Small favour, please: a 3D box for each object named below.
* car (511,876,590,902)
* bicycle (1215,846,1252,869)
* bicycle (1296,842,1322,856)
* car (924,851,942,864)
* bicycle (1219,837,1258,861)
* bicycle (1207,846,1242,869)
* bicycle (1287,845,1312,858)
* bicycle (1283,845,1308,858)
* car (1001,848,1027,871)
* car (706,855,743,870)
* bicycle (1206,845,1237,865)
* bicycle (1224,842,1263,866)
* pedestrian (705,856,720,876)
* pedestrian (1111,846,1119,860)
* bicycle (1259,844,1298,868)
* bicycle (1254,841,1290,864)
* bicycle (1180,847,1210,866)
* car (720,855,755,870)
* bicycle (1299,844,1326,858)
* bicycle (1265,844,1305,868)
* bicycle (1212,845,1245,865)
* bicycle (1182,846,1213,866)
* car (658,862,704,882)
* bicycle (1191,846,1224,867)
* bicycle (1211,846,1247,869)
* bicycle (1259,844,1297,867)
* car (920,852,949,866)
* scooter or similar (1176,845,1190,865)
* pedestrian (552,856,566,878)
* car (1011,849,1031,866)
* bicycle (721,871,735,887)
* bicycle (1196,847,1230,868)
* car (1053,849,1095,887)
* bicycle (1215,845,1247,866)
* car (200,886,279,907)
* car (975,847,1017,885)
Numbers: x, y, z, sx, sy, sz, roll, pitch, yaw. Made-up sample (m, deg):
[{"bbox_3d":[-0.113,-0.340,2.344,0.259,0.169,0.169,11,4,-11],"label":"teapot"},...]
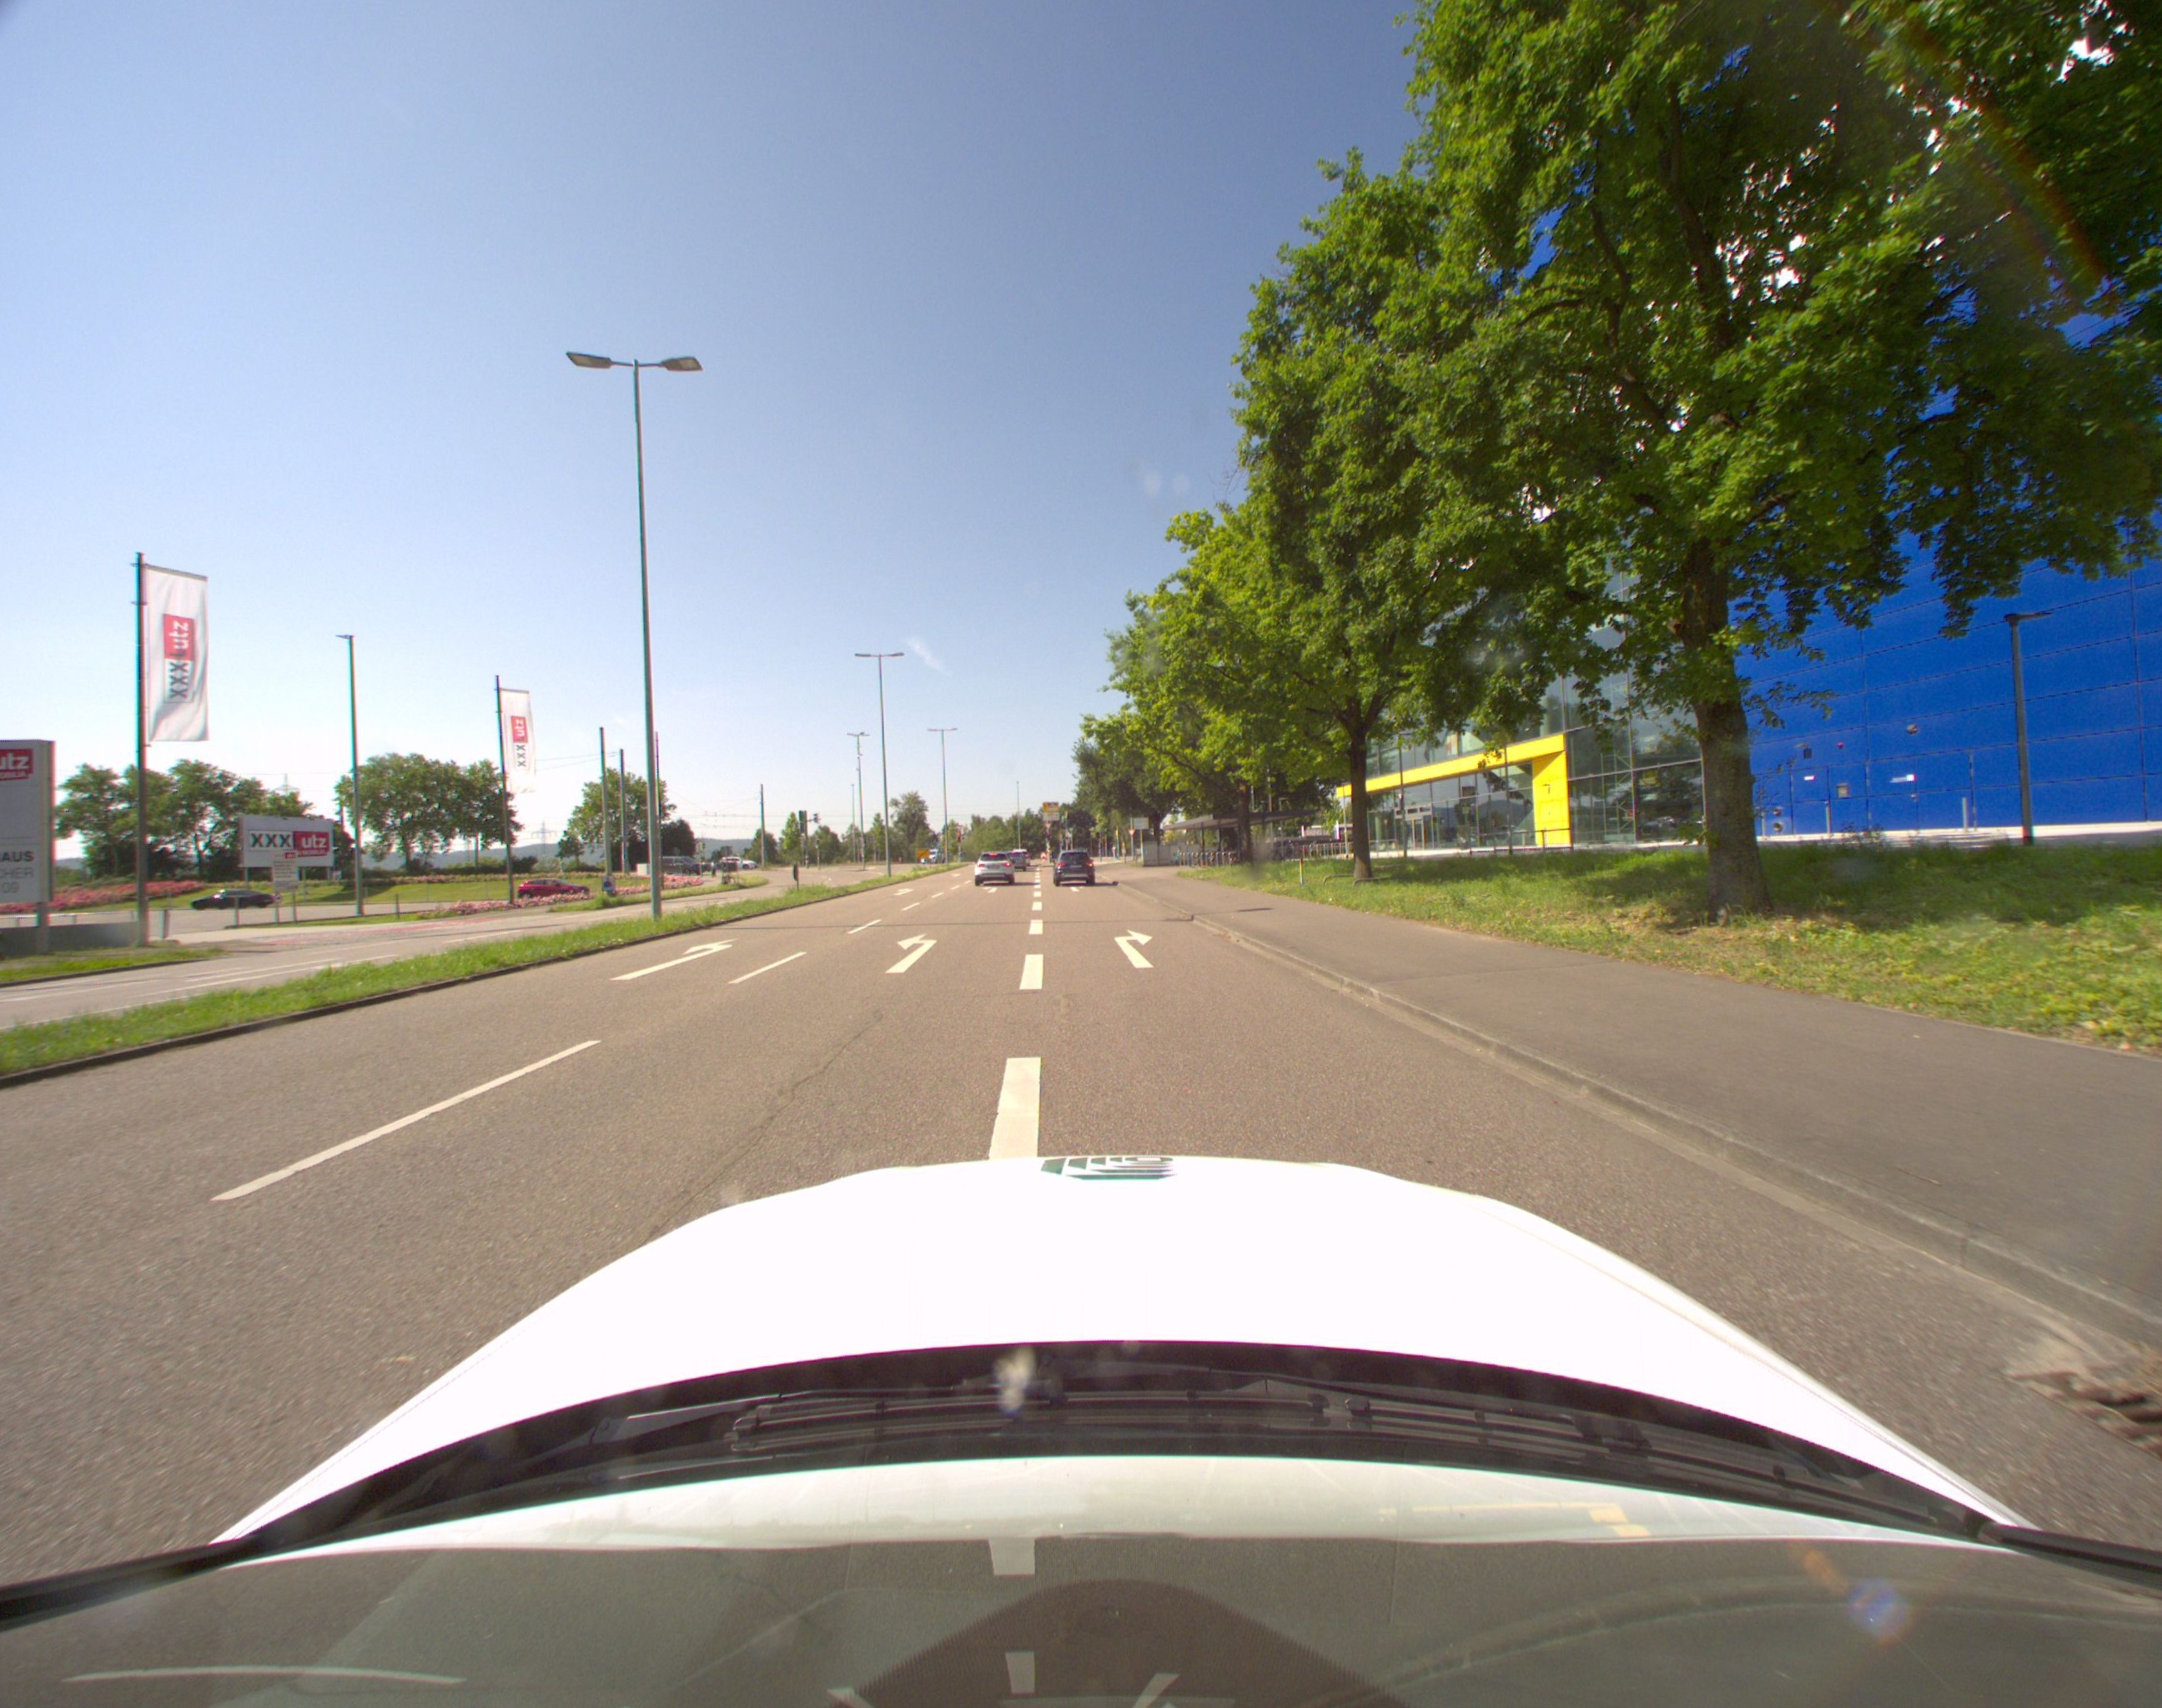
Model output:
[{"bbox_3d":[-37.208,2.409,57.191,4.180,1.605,1.821,-2,-1,-8],"label":"car"},{"bbox_3d":[7.748,0.163,41.486,1.754,1.096,0.451,-3,0,-4],"label":"bicycle"},{"bbox_3d":[14.920,-0.304,53.401,1.557,0.843,0.433,-2,0,-2],"label":"bicycle"},{"bbox_3d":[-12.453,0.287,68.654,1.114,1.004,2.491,-3,0,-1],"label":"car"},{"bbox_3d":[7.780,-0.245,40.246,1.754,1.096,0.463,-3,0,-4],"label":"bicycle"},{"bbox_3d":[7.556,0.171,42.948,1.754,1.096,0.451,-3,0,-4],"label":"bicycle"},{"bbox_3d":[14.745,-0.172,54.963,1.557,0.843,0.433,-2,0,-1],"label":"bicycle"},{"bbox_3d":[14.720,-0.192,55.813,1.558,0.843,0.433,-2,0,-3],"label":"bicycle"},{"bbox_3d":[-4.894,0.379,59.767,1.703,1.573,4.168,-3,0,-4],"label":"car"},{"bbox_3d":[-38.892,0.916,88.980,3.381,1.500,1.407,-2,-1,-6],"label":"car"},{"bbox_3d":[8.588,0.069,49.755,1.754,1.096,0.451,-3,0,-4],"label":"bicycle"},{"bbox_3d":[7.856,-0.004,39.314,1.754,1.096,0.451,-3,0,-3],"label":"bicycle"},{"bbox_3d":[-33.253,1.090,73.486,0.835,1.707,0.908,-3,0,9],"label":"pedestrian"},{"bbox_3d":[3.723,-0.082,89.240,0.768,1.510,1.010,-3,1,8],"label":"pedestrian"},{"bbox_3d":[9.808,0.078,40.466,1.754,1.096,0.451,-3,0,-4],"label":"bicycle"},{"bbox_3d":[9.989,-0.066,42.617,1.754,1.096,0.451,-3,0,-4],"label":"bicycle"},{"bbox_3d":[6.968,0.143,49.752,1.754,1.096,0.451,-3,0,-4],"label":"bicycle"},{"bbox_3d":[-38.889,0.956,92.357,3.340,1.500,1.406,-2,-1,-8],"label":"car"},{"bbox_3d":[14.927,-0.200,52.532,1.557,0.843,0.433,-2,0,-2],"label":"bicycle"},{"bbox_3d":[9.875,0.102,39.453,1.754,1.096,0.451,-3,0,-4],"label":"bicycle"},{"bbox_3d":[8.838,0.043,48.745,1.825,1.096,0.451,-3,0,-4],"label":"bicycle"},{"bbox_3d":[6.949,0.136,48.749,1.754,1.096,0.451,-3,0,-4],"label":"bicycle"},{"bbox_3d":[-39.781,1.804,81.020,3.955,1.925,1.825,-1,1,18],"label":"car"},{"bbox_3d":[7.189,0.140,46.340,1.754,1.096,0.451,-3,0,-4],"label":"bicycle"},{"bbox_3d":[7.687,0.171,42.398,1.754,1.096,0.451,-3,0,-4],"label":"bicycle"},{"bbox_3d":[9.963,0.072,41.240,1.754,1.096,0.451,-3,0,-4],"label":"bicycle"},{"bbox_3d":[-17.123,0.588,95.231,1.781,1.547,4.102,-2,0,14],"label":"car"},{"bbox_3d":[6.732,0.041,53.748,0.776,1.265,0.283,-3,0,-6],"label":"scooter or similar"},{"bbox_3d":[-48.371,1.185,75.468,0.713,1.972,0.918,-2,-1,1],"label":"pedestrian"},{"bbox_3d":[-5.499,0.334,74.804,1.737,1.448,4.384,-2,0,-3],"label":"car"},{"bbox_3d":[-24.029,1.701,55.485,0.330,1.023,1.640,-4,-1,-6],"label":"bicycle"},{"bbox_3d":[7.293,0.192,45.052,1.754,1.096,0.451,-3,0,-4],"label":"bicycle"},{"bbox_3d":[-0.345,0.574,35.746,1.666,1.523,3.373,-1,0,-3],"label":"car"},{"bbox_3d":[8.775,0.082,47.605,1.754,1.096,0.451,-3,0,-4],"label":"bicycle"},{"bbox_3d":[-62.567,3.176,60.606,3.840,1.330,1.726,-2,-1,-5],"label":"car"},{"bbox_3d":[-3.895,0.504,37.793,1.627,1.498,3.867,-2,2,-2],"label":"car"}]
